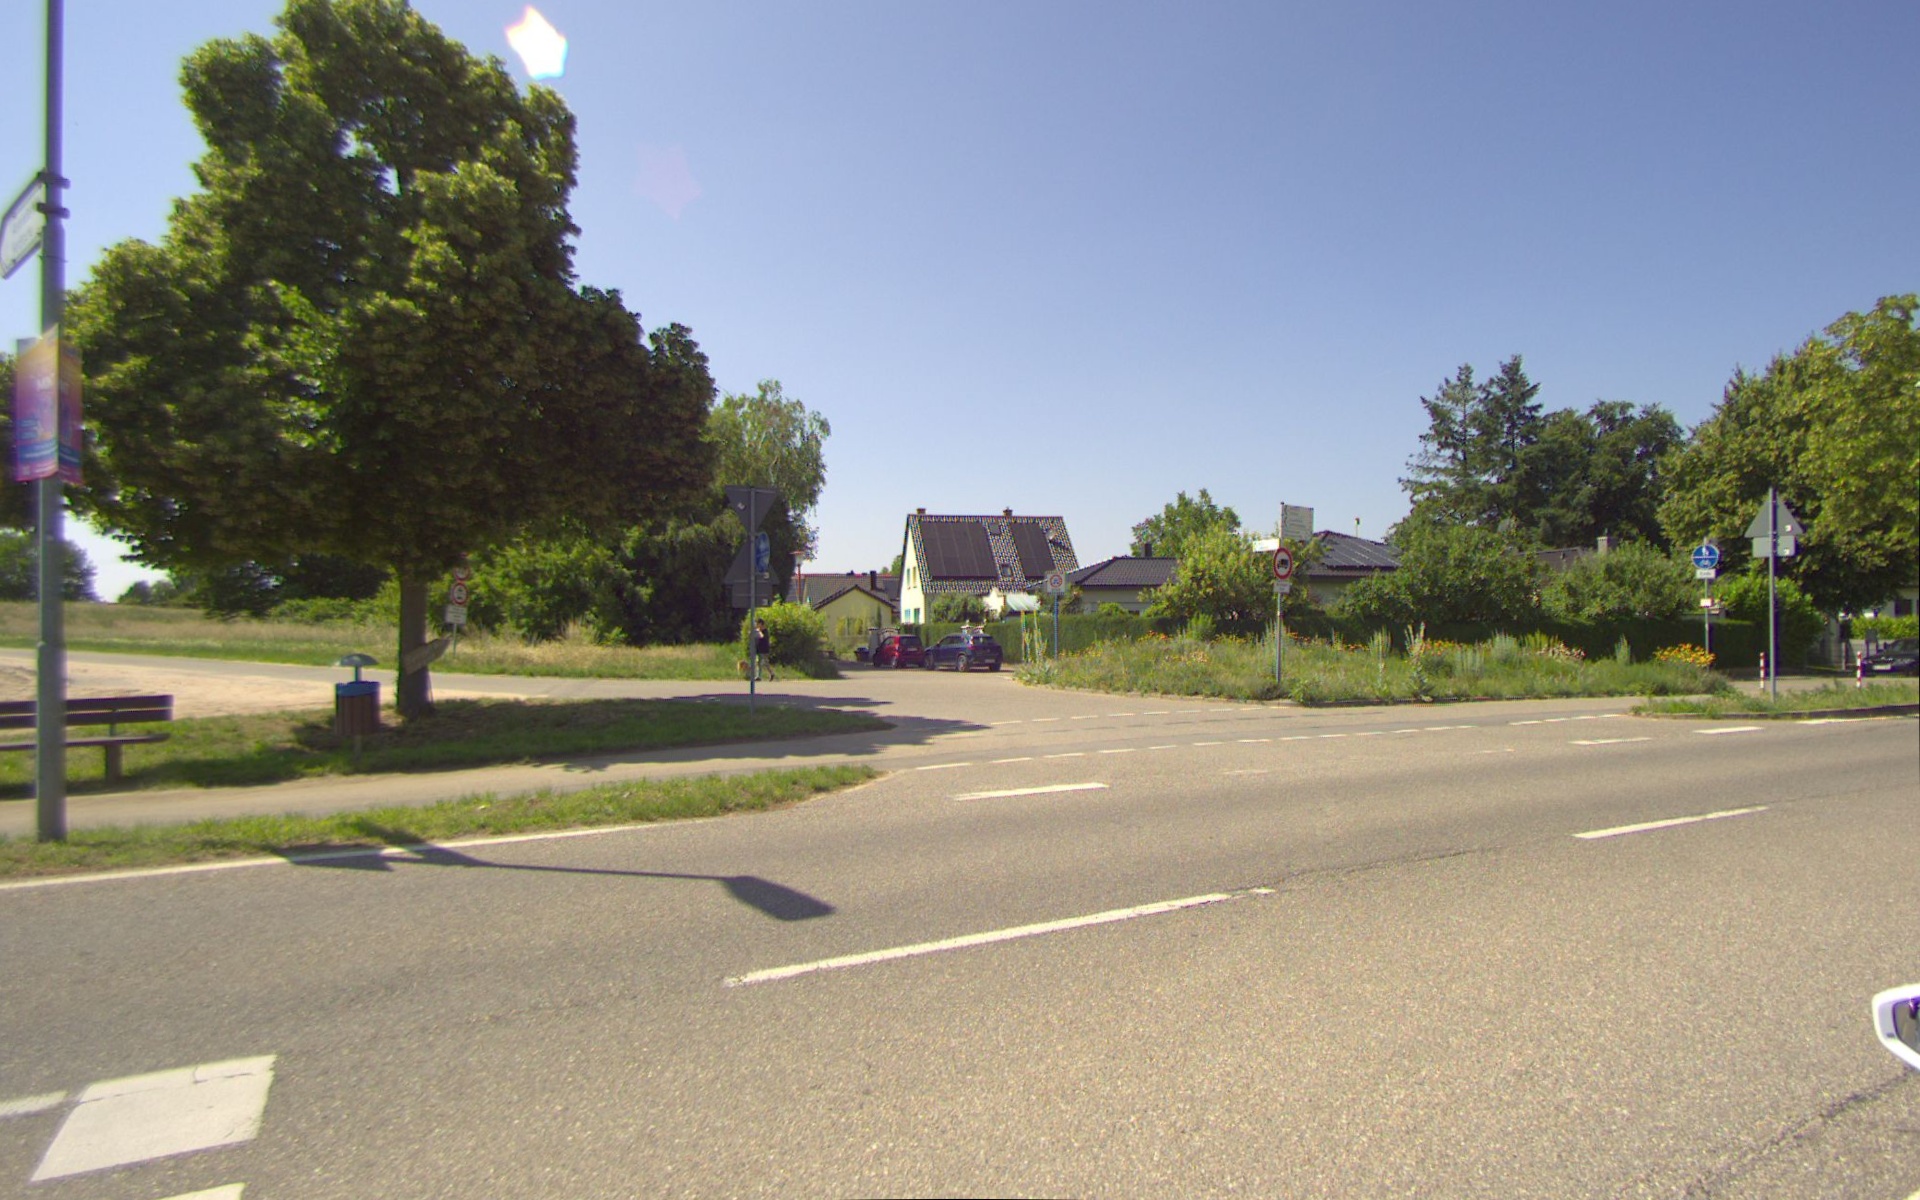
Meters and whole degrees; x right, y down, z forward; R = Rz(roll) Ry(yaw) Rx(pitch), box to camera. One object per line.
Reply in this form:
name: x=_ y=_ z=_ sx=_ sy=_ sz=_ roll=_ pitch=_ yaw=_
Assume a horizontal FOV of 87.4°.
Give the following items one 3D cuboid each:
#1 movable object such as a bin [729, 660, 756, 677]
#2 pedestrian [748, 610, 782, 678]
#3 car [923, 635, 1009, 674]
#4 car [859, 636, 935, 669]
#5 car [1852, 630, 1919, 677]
movable object such as a bin: x=-5.771 y=1.808 z=26.663 sx=0.753 sy=0.416 sz=0.318 roll=0 pitch=-1 yaw=43
pedestrian: x=-5.044 y=1.130 z=25.992 sx=0.540 sy=1.739 sz=0.675 roll=0 pitch=-1 yaw=27
car: x=0.195 y=2.307 z=42.821 sx=1.860 sy=1.539 sz=3.967 roll=-1 pitch=-2 yaw=-31
car: x=-3.060 y=2.488 z=48.084 sx=1.978 sy=1.539 sz=3.966 roll=1 pitch=-3 yaw=-32
car: x=33.212 y=1.843 z=35.014 sx=3.944 sy=1.550 sz=1.684 roll=1 pitch=-1 yaw=-24
